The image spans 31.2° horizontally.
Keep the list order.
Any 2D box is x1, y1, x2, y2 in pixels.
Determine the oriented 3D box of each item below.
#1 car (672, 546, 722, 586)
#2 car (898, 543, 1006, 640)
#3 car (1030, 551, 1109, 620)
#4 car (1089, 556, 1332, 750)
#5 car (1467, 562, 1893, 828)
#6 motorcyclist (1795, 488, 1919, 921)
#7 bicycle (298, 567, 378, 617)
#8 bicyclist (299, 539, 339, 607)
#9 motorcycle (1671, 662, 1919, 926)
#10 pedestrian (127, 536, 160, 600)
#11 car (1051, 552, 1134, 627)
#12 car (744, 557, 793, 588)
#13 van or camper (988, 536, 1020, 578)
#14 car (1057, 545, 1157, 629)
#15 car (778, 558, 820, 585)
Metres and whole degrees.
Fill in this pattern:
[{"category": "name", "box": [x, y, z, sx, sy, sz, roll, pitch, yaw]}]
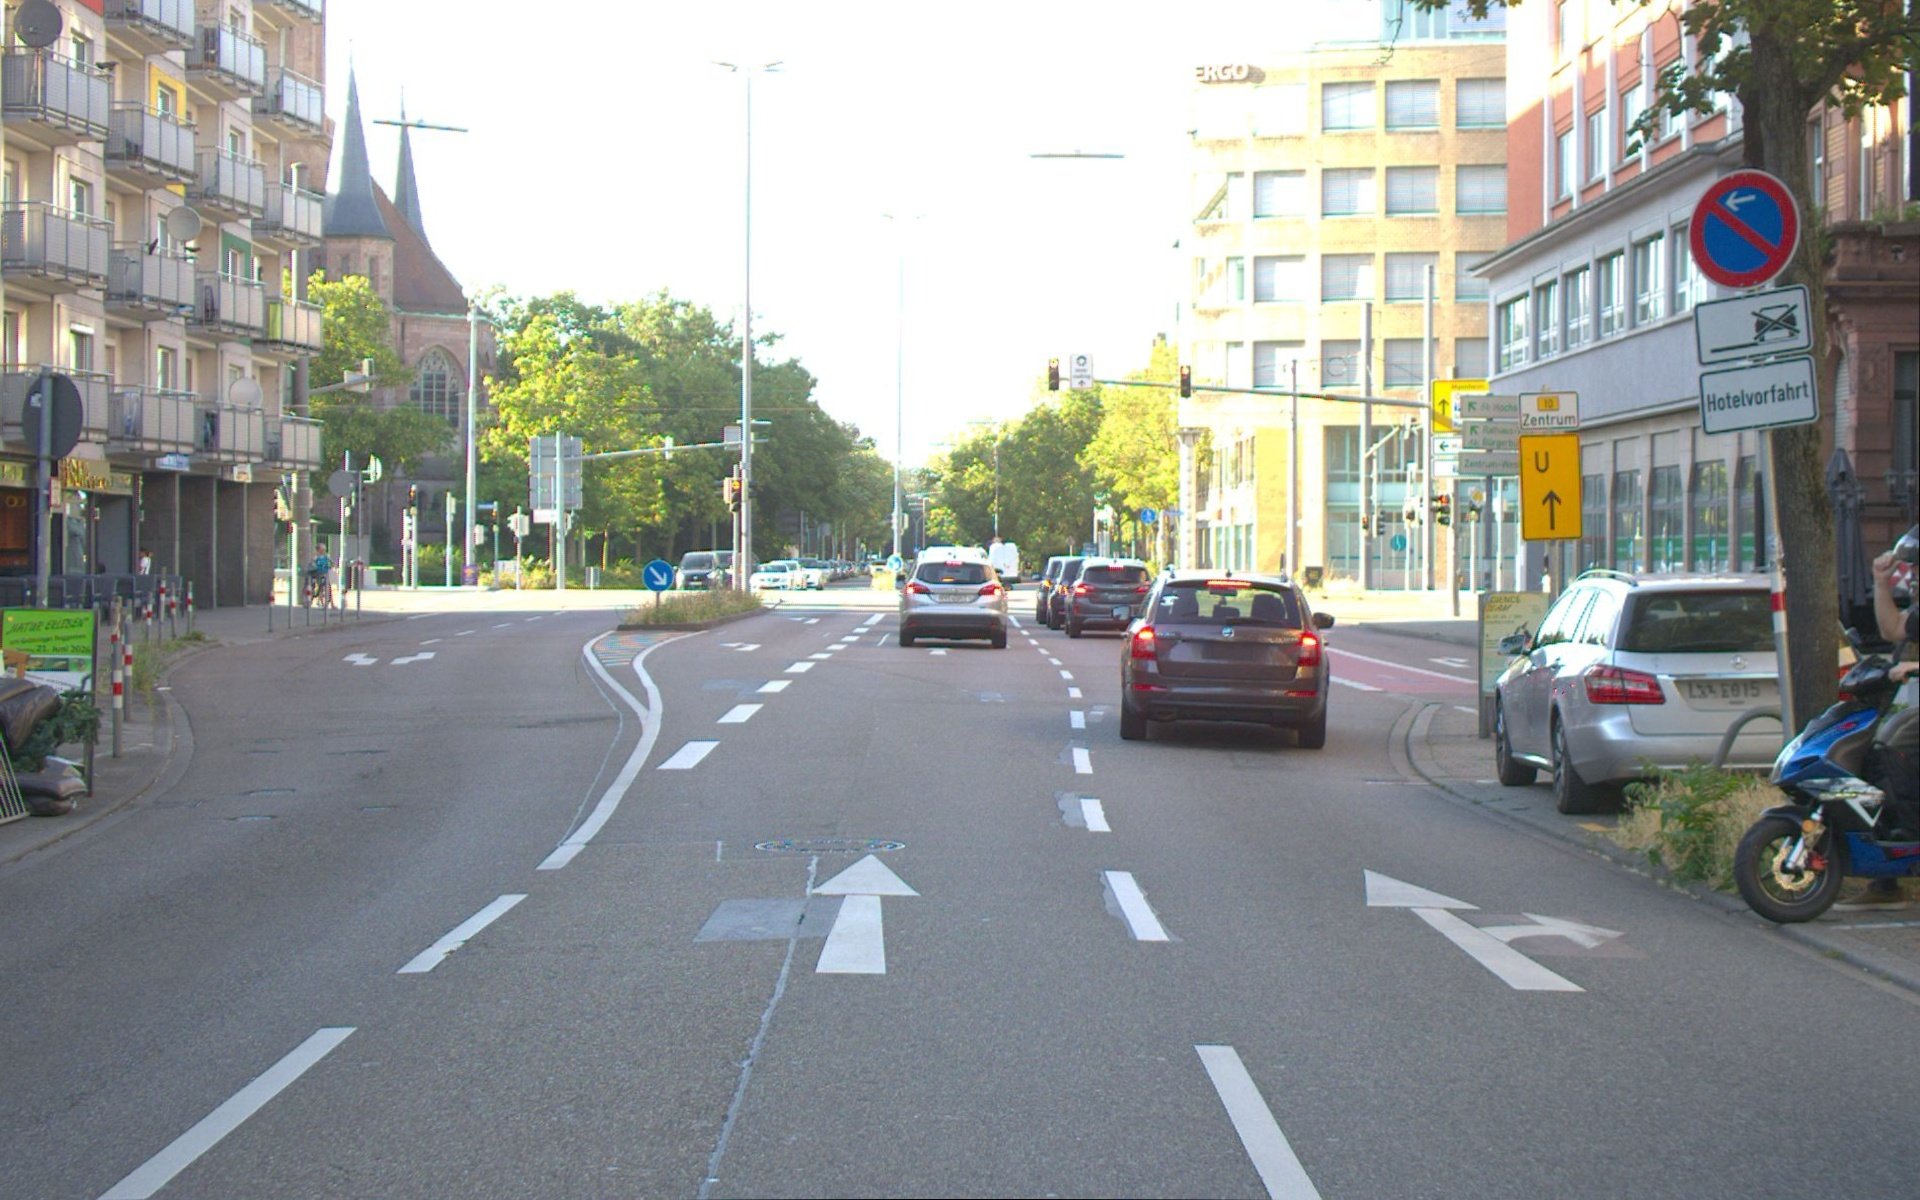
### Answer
[{"category": "car", "box": [-11.001, -1.441, 144.034, 1.780, 1.641, 4.000, 1, 1, 0]}, {"category": "car", "box": [-0.136, -0.168, 57.356, 1.707, 1.504, 4.309, 2, 1, 0]}, {"category": "car", "box": [2.439, -0.342, 76.980, 1.584, 1.442, 3.648, 2, 1, 0]}, {"category": "car", "box": [2.099, 0.401, 29.822, 1.707, 1.452, 4.159, 3, 1, 0]}, {"category": "car", "box": [4.564, 0.531, 22.522, 1.856, 1.507, 4.834, -1, 1, 1]}, {"category": "motorcyclist", "box": [4.156, 0.420, 14.656, 0.736, 1.772, 1.089, 1, 1, -12]}, {"category": "bicycle", "box": [-15.368, -0.205, 84.909, 1.827, 1.184, 0.734, 1, 1, -1]}, {"category": "bicyclist", "box": [-15.899, -0.672, 85.319, 0.782, 1.654, 0.901, 1, 0, 0]}, {"category": "motorcycle", "box": [4.152, 0.822, 14.867, 1.925, 1.067, 0.820, 1, 1, -12]}, {"category": "pedestrian", "box": [-17.766, -0.694, 74.820, 0.484, 1.379, 0.481, 1, 0, 20]}, {"category": "car", "box": [2.724, -0.235, 71.312, 1.489, 1.500, 3.479, 0, 1, -1]}, {"category": "car", "box": [-7.971, -1.152, 143.472, 1.780, 1.232, 4.000, 1, 1, 0]}, {"category": "van or camper", "box": [2.871, -2.794, 223.091, 1.993, 2.631, 5.350, 1, 1, 1]}, {"category": "car", "box": [2.750, -0.276, 65.069, 1.650, 1.479, 4.239, 2, 1, 0]}, {"category": "car", "box": [-7.597, -1.357, 162.762, 1.780, 1.232, 4.000, 1, 1, 0]}]
